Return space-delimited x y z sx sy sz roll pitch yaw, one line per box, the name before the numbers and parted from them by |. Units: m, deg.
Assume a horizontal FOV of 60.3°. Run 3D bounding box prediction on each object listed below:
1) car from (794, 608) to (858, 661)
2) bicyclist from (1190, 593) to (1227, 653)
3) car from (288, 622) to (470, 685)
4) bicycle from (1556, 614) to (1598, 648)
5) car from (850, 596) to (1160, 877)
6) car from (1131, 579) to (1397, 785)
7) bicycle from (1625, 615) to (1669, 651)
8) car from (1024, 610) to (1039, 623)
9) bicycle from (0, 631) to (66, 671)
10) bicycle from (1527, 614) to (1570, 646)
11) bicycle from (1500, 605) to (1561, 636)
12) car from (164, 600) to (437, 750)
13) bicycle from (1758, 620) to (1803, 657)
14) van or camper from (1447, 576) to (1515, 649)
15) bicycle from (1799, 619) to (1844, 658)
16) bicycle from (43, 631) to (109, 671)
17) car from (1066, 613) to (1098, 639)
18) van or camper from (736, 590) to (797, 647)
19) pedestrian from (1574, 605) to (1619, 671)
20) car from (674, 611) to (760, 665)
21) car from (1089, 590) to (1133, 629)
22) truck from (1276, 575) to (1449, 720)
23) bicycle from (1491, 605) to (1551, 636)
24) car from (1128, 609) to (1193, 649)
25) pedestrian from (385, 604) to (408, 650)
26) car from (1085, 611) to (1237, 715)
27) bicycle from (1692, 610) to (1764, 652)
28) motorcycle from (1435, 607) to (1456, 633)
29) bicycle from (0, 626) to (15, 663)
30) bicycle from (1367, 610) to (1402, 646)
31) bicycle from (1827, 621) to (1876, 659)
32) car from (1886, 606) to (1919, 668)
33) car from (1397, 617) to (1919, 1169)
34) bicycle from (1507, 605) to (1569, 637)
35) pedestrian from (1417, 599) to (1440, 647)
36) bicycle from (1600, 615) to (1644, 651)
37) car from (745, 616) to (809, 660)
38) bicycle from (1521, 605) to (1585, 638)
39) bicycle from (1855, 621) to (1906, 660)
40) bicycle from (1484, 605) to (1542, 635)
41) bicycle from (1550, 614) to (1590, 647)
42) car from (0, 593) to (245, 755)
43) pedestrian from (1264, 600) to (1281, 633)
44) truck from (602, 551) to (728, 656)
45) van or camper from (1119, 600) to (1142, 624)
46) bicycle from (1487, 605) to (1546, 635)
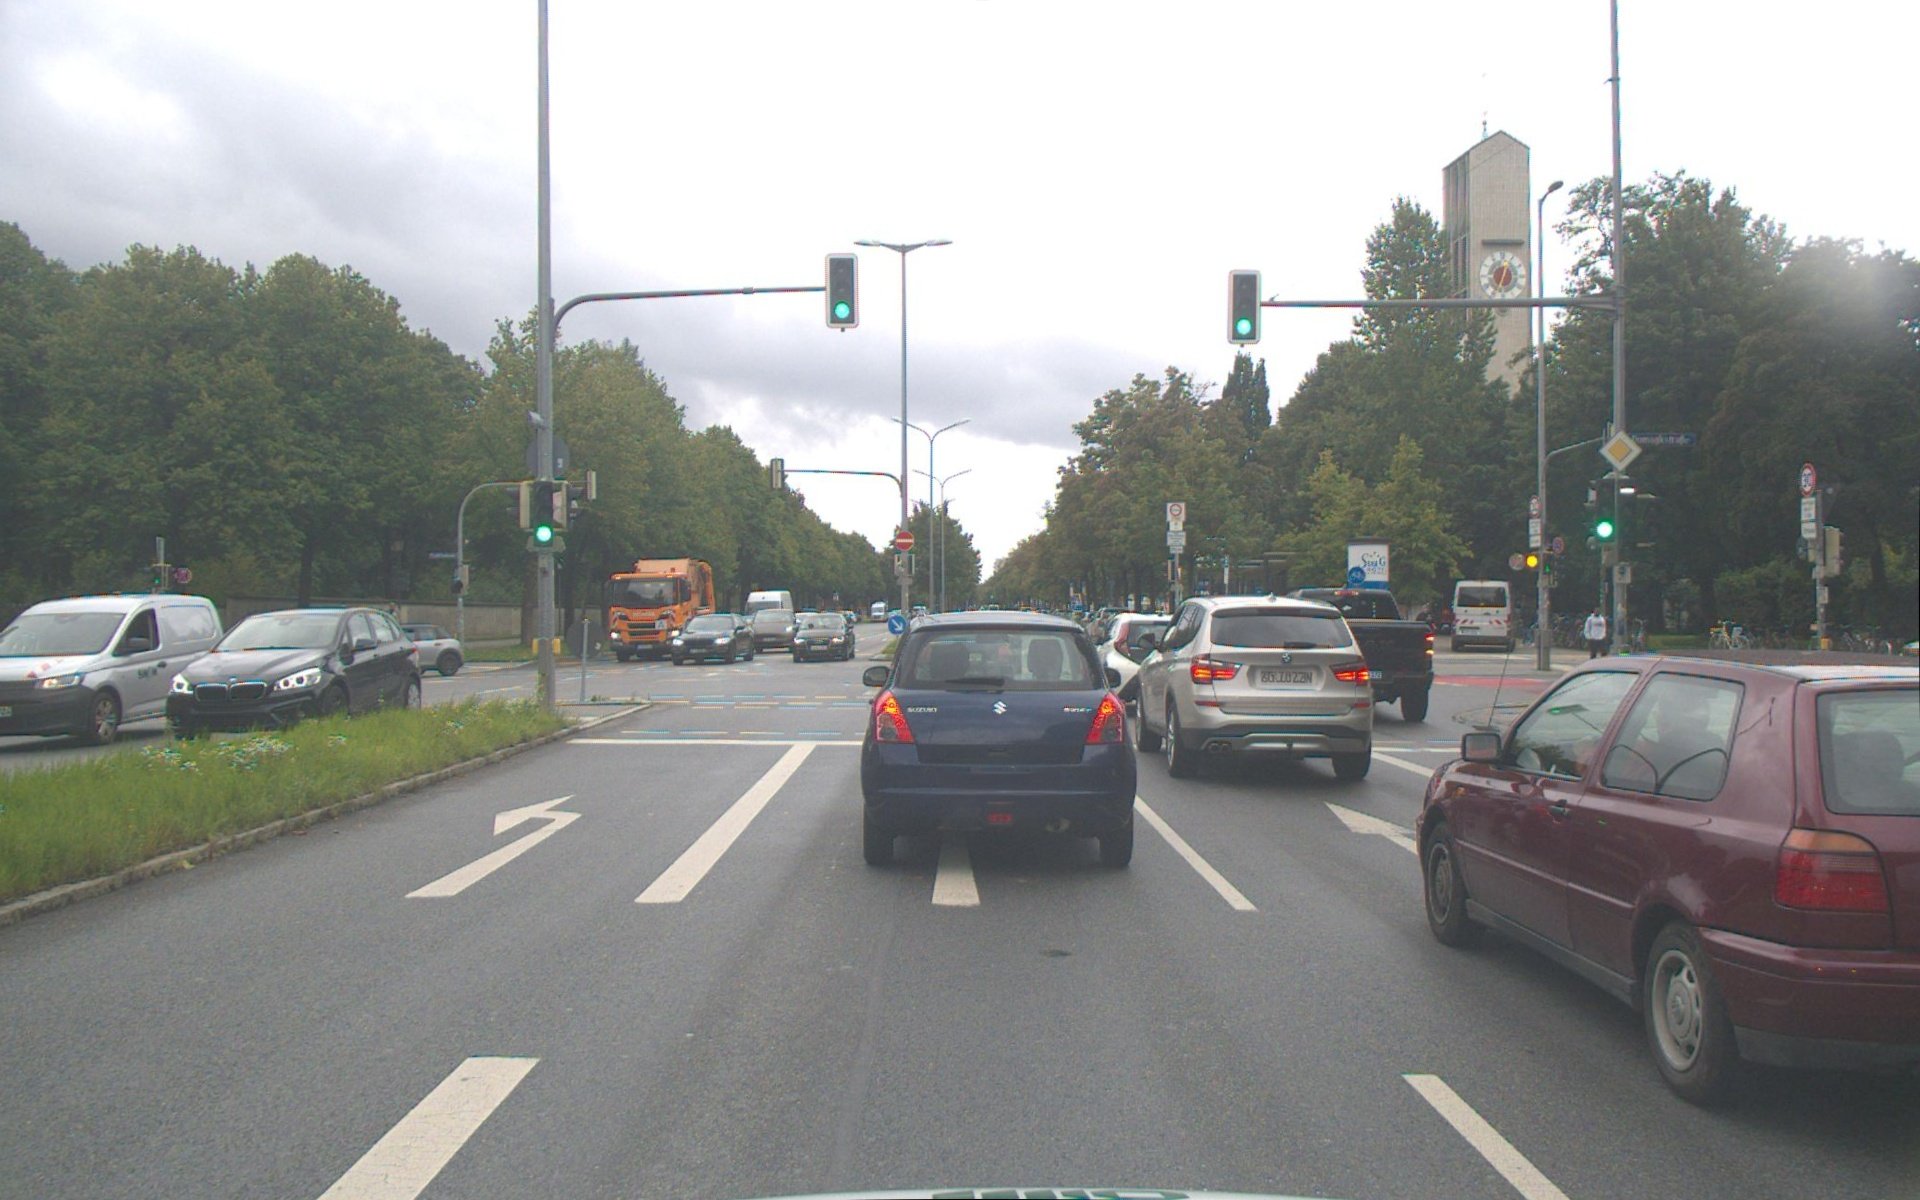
car | -4.023 1.020 50.222 1.605 1.513 3.781 0 0 0
bicyclist | 7.524 0.687 50.037 0.818 1.795 0.737 0 -1 -35
car | -15.777 1.444 45.091 1.894 1.487 4.347 -3 -1 37
bicycle | 21.866 1.093 58.615 0.705 1.174 2.117 -1 -1 40
car | 0.225 0.783 11.383 1.752 1.583 3.999 0 0 -1
car | 2.845 0.721 16.358 1.812 1.773 4.096 0 0 -1
bicycle | 22.881 1.090 55.125 0.682 1.174 2.129 0 0 3
car | 8.487 1.944 196.705 1.649 1.552 4.456 1 0 1
bicycle | -29.757 1.613 53.078 0.818 1.207 2.496 0 0 -1
bicycle | 21.994 1.111 61.785 0.706 1.174 2.113 -1 -1 45
bicycle | 23.640 0.857 68.590 2.290 1.178 0.529 -3 0 0
car | -7.774 0.823 19.944 1.664 1.597 4.290 0 0 -2
bicycle | 25.253 1.168 50.941 0.595 1.114 2.116 0 0 8
van or camper | 17.907 0.426 56.829 2.096 2.336 6.202 0 0 18
bicycle | 25.936 1.149 49.821 0.595 1.114 2.116 0 0 10
bicycle | -28.426 1.631 53.235 0.818 1.207 2.496 0 0 -1
car | 7.364 1.556 100.267 1.682 1.535 4.223 0 0 1
van or camper | -9.859 0.927 84.799 2.133 2.693 6.950 -2 0 0
pedestrian | 16.900 1.001 43.908 0.745 1.733 0.937 0 -1 -9
car | -7.375 1.113 50.615 1.887 1.487 4.897 -2 0 -1
car | 7.117 0.446 78.215 1.711 1.754 4.906 1 0 1
truck | 6.278 0.695 26.439 2.054 2.049 5.816 0 0 7
bicycle | 23.626 0.862 69.647 2.290 1.178 0.529 -3 0 0
car | 7.186 1.015 59.641 1.675 1.384 4.620 0 0 -1
pedestrian | -21.427 1.023 62.873 0.693 1.771 0.517 0 -1 -4
car | 3.031 0.917 25.696 1.812 1.472 4.096 0 0 -1
bicycle | 24.140 0.968 52.026 0.692 1.272 2.097 0 -1 -25
motorcycle | 22.685 0.915 77.303 0.643 1.198 1.812 -1 0 26
bicycle | -31.927 1.467 53.907 0.818 1.207 2.496 0 0 -1
bicycle | 15.110 0.995 58.893 0.843 1.219 2.001 -2 -1 5
bicycle | 26.671 1.181 49.529 0.595 1.114 2.116 0 0 8
car | 25.778 0.909 41.362 4.214 1.523 1.886 0 -1 -3
car | 3.027 0.815 6.475 1.589 1.479 3.949 0 0 0
bicycle | 23.705 0.854 67.866 2.290 1.178 0.529 -3 0 0
pedestrian | 15.395 0.763 54.380 0.676 1.565 0.737 -1 -1 20
bicycle | 22.075 1.079 55.187 0.701 1.174 2.129 0 0 3
car | -6.857 1.404 62.401 1.824 1.569 4.749 0 -1 1
bicycle | 23.430 0.837 65.406 2.290 1.178 0.529 -3 0 0
bicycle | 27.251 1.189 48.999 0.595 1.114 2.116 0 0 8
bicycle | 23.902 0.876 71.477 2.290 1.178 0.529 -3 0 0
bicycle | 22.244 1.108 60.313 0.705 1.174 2.117 -1 -1 40
car | -10.981 0.867 21.175 1.743 1.843 4.430 0 0 0
pedestrian | 14.948 0.781 79.101 0.569 1.540 0.691 0 -1 -18
truck | -10.118 0.162 57.473 2.722 3.415 7.268 0 -1 3
van or camper | 18.624 1.298 180.559 1.982 2.603 5.957 -1 0 1
bicycle | 23.832 0.872 70.884 2.290 1.178 0.529 -3 0 0
